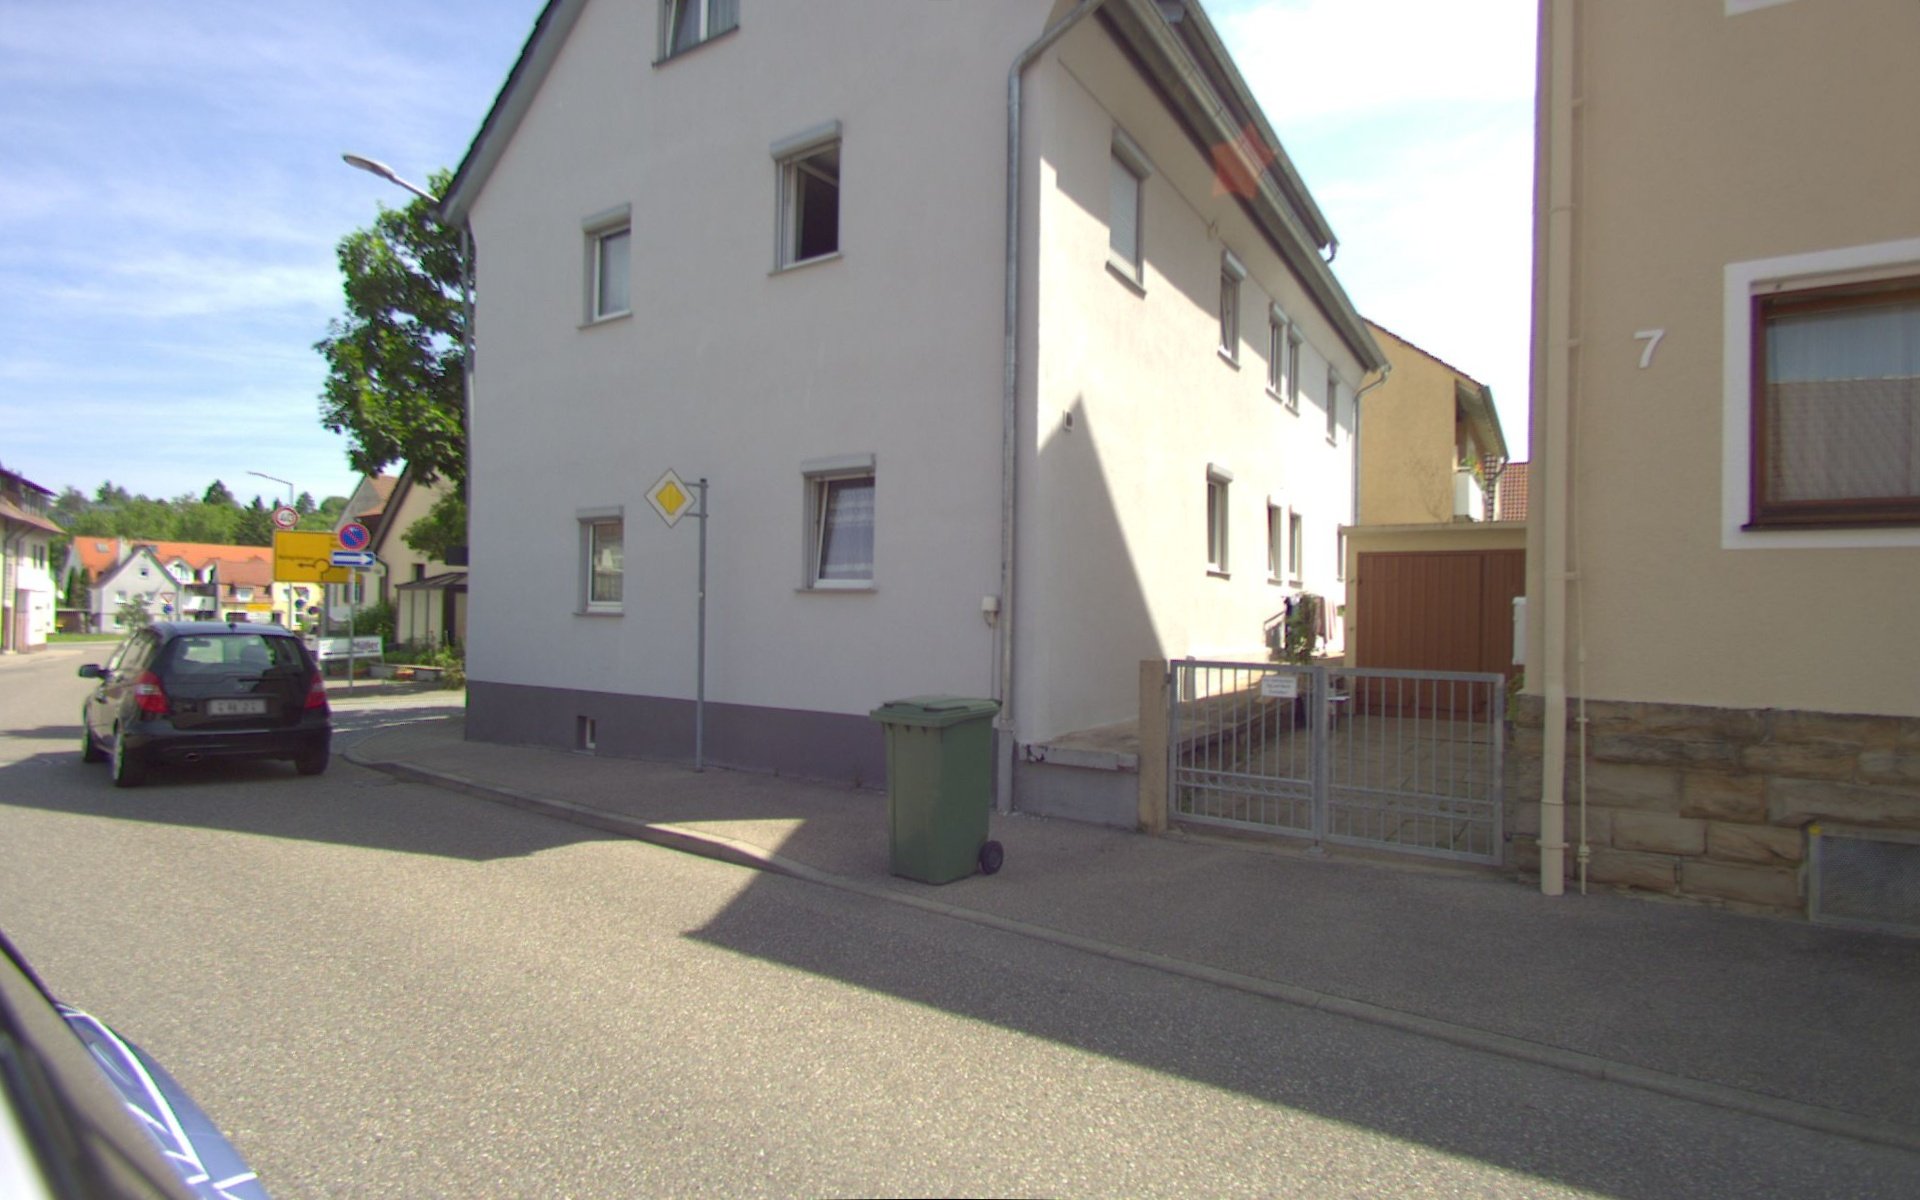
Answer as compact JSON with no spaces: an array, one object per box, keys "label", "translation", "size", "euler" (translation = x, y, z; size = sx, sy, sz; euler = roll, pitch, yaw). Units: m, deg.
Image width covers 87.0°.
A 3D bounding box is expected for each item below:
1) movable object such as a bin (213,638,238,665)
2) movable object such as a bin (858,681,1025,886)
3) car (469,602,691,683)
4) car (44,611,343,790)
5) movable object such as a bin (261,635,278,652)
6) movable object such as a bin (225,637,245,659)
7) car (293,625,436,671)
[{"label":"movable object such as a bin","translation":[-29.963,2.096,41.291],"size":[0.814,1.085,0.820],"euler":[0,-2,-35]},{"label":"movable object such as a bin","translation":[-0.107,1.050,6.082],"size":[0.679,1.068,0.745],"euler":[-2,-2,42]},{"label":"car","translation":[-9.848,1.094,26.594],"size":[2.173,1.911,5.054],"euler":[-2,-2,39]},{"label":"car","translation":[-8.347,0.963,10.895],"size":[4.069,1.567,1.780],"euler":[-2,-4,42]},{"label":"movable object such as a bin","translation":[-44.356,2.783,65.040],"size":[0.797,1.053,0.829],"euler":[0,-2,-25]},{"label":"movable object such as a bin","translation":[-36.100,2.386,50.381],"size":[0.781,1.065,0.652],"euler":[2,-3,-39]},{"label":"car","translation":[-22.923,1.808,39.044],"size":[1.999,1.635,4.354],"euler":[-1,-2,42]}]
